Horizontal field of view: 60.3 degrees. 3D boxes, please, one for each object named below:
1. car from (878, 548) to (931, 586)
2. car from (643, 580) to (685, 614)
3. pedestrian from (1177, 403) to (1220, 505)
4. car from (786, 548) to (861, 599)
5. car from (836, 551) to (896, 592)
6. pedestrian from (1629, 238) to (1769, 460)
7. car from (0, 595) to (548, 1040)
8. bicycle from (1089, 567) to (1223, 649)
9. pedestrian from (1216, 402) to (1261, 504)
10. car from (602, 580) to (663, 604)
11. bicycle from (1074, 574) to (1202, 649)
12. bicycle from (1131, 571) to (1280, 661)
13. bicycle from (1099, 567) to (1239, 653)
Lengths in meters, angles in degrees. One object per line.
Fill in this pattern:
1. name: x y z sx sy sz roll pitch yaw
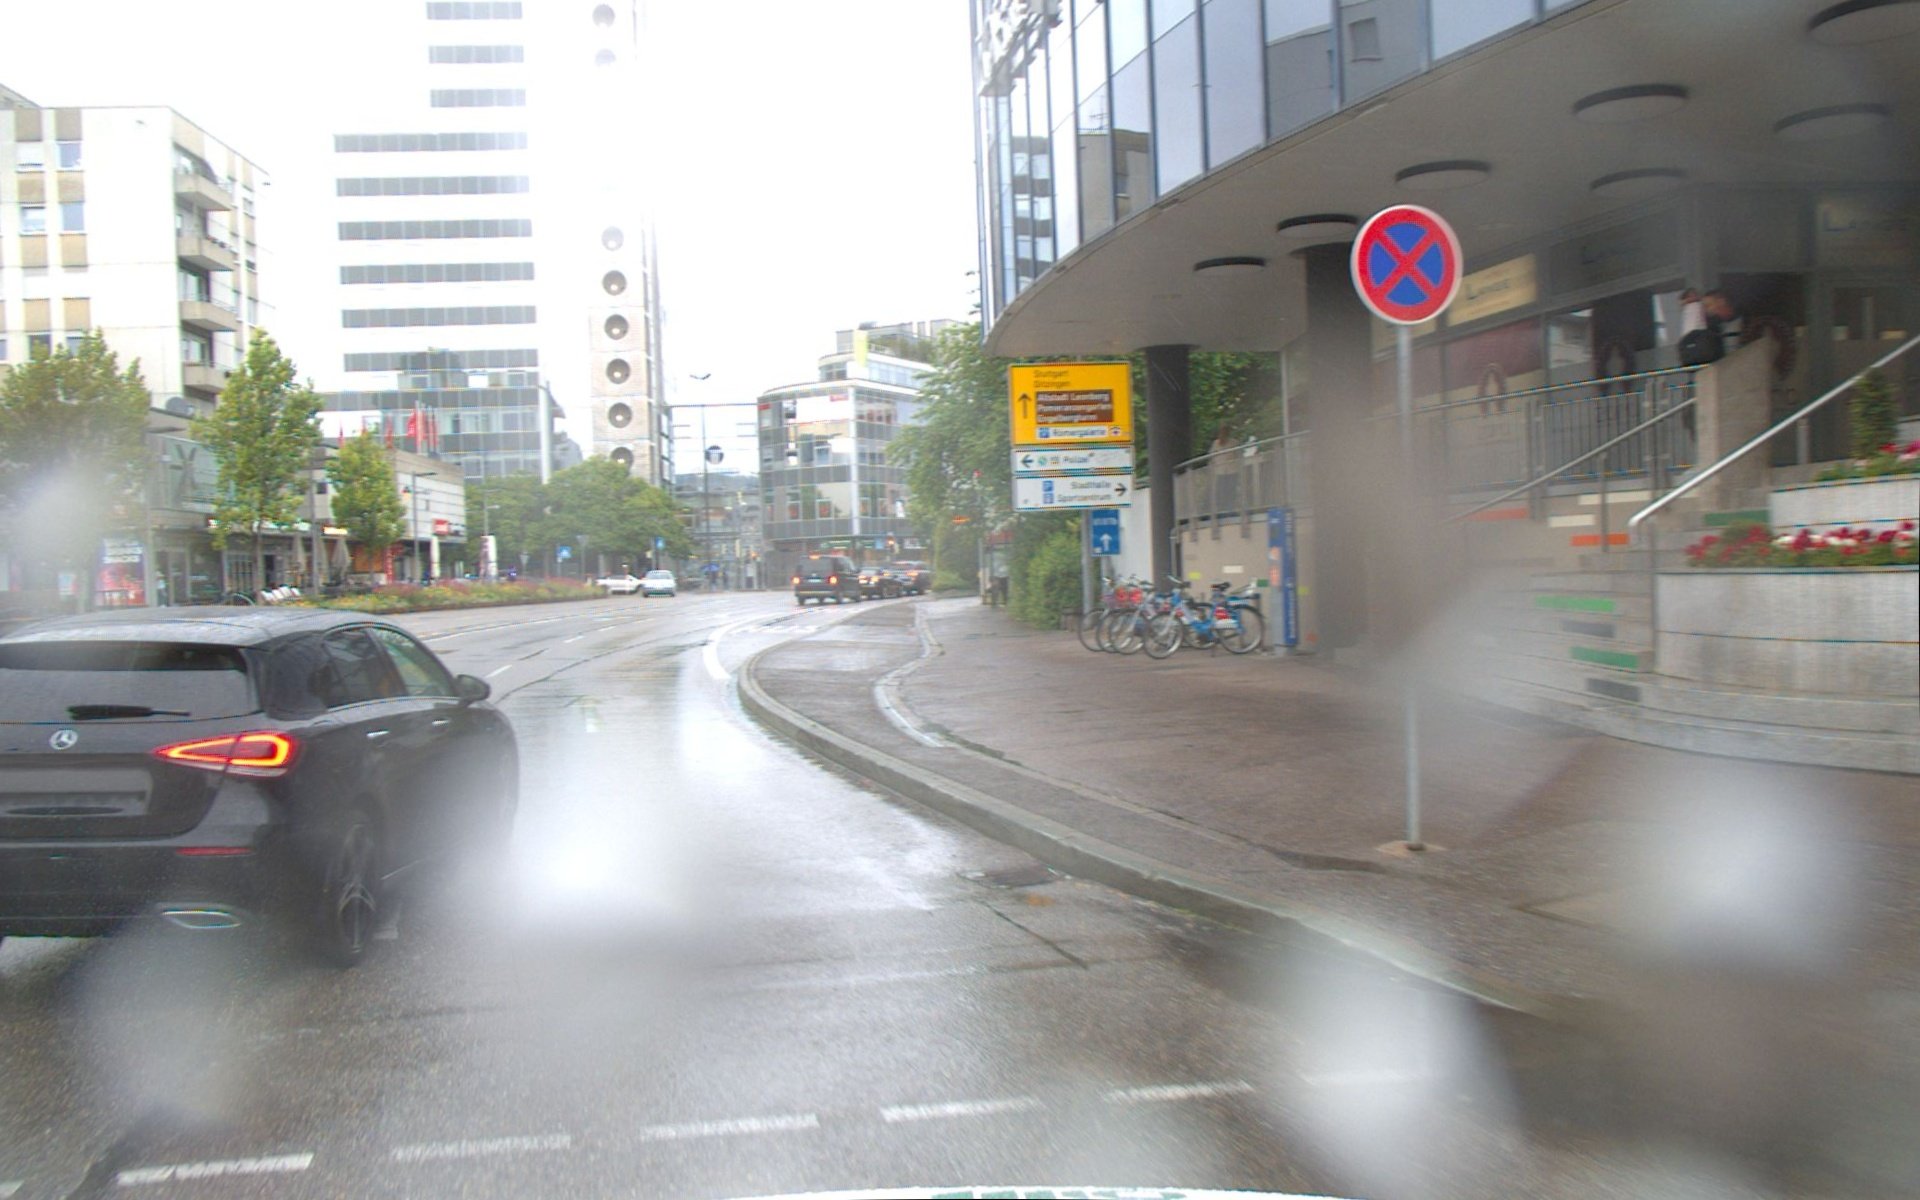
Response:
1. car: -2.722 -1.666 82.241 1.869 1.754 3.813 -2 2 9
2. car: -16.080 -0.170 90.081 1.658 1.660 3.511 -2 2 -1
3. pedestrian: 4.211 -2.568 29.199 0.639 1.743 0.600 -1 2 -2
4. car: -5.607 -1.112 68.457 1.999 1.928 4.143 -2 2 10
5. car: -4.263 -1.312 75.592 1.846 1.701 4.004 -2 2 9
6. pedestrian: 7.192 -2.416 16.122 0.934 2.048 0.829 -2 2 -17
7. car: -3.236 0.776 7.944 1.629 1.507 4.092 -2 1 -3
8. bicycle: 2.892 0.117 24.500 1.814 1.051 0.628 -5 1 -8
9. pedestrian: 4.905 -2.581 29.146 0.639 1.743 0.600 -1 2 -2
10. car: -22.169 -0.572 112.119 3.912 1.408 1.725 -2 2 -8
11. bicycle: 2.711 0.164 25.227 1.813 0.967 0.536 -5 2 -4
12. bicycle: 3.274 0.207 22.145 1.814 1.041 0.631 -4 1 -8
13. bicycle: 2.993 0.141 23.748 1.814 1.060 0.646 -5 1 -8
